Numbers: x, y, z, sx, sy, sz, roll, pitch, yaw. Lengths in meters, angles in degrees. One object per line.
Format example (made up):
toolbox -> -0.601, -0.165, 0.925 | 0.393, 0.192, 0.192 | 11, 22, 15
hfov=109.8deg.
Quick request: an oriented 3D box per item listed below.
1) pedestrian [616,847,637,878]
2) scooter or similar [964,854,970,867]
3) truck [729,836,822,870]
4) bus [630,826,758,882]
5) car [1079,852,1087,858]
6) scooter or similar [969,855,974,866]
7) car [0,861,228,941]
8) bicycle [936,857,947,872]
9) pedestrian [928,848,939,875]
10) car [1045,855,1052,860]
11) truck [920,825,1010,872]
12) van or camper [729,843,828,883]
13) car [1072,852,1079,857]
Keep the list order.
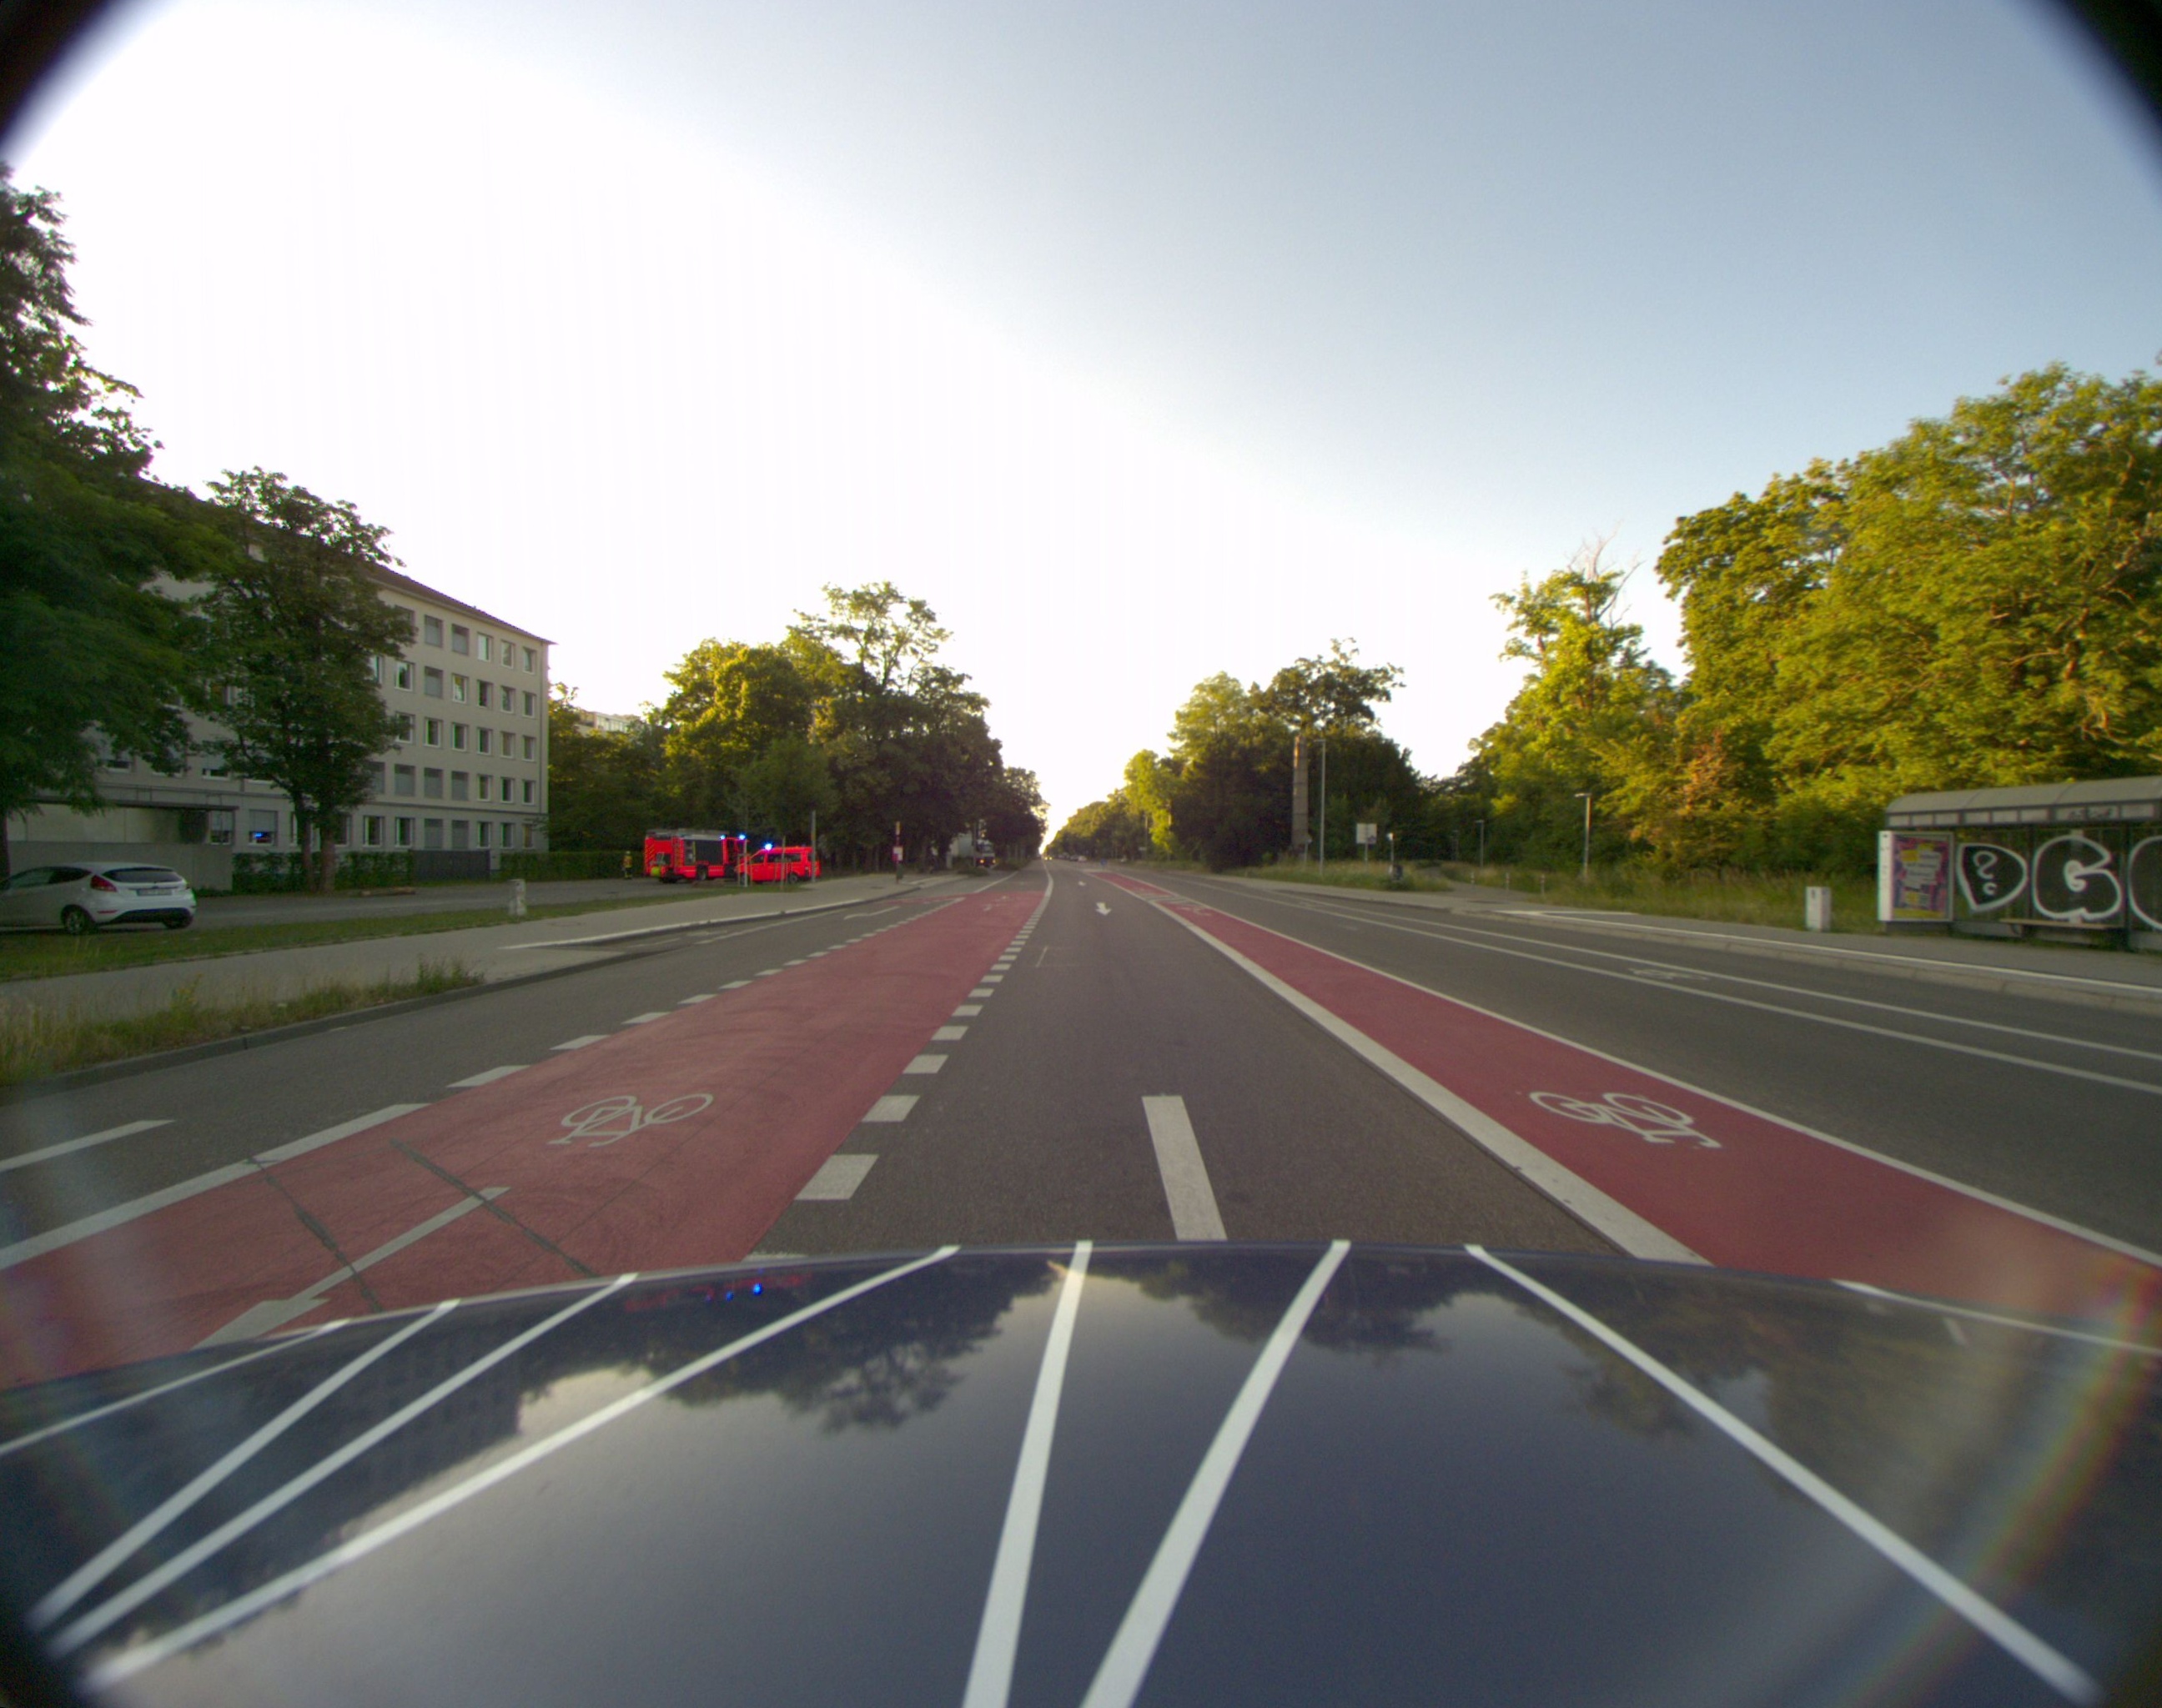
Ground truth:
pedestrian -> -29.673, 0.566, 49.597 | 0.772, 2.002, 0.826 | 0, 1, 9
scooter or similar -> -12.225, 0.689, 81.466 | 0.483, 1.274, 1.230 | 2, 0, -8
truck -> -29.811, -0.139, 74.163 | 8.645, 3.192, 2.765 | 0, 0, 17
bus -> -23.757, -0.023, 47.233 | 2.993, 3.177, 7.968 | -1, 0, 8
car -> 0.564, 0.321, 184.887 | 1.851, 1.406, 4.179 | 0, 0, -1
scooter or similar -> -11.943, 0.715, 83.162 | 0.483, 1.274, 1.139 | 2, 0, -8
car -> -20.973, 0.952, 16.003 | 3.996, 1.528, 1.912 | -1, 1, 4
bicycle -> -10.683, 0.775, 58.210 | 0.833, 1.091, 1.967 | 1, 0, -10
pedestrian -> -11.243, 0.567, 58.035 | 0.725, 2.002, 0.695 | 0, 1, -2
car -> -10.479, 1.139, 246.694 | 1.999, 1.608, 3.999 | 0, 0, -1
truck -> -15.221, -0.680, 98.213 | 5.169, 5.542, 15.042 | 0, 1, -36
van or camper -> -17.768, 0.534, 44.793 | 4.823, 2.232, 2.295 | -1, 1, 4
car -> -1.382, 0.098, 205.721 | 1.754, 1.299, 3.999 | 1, 0, -2
